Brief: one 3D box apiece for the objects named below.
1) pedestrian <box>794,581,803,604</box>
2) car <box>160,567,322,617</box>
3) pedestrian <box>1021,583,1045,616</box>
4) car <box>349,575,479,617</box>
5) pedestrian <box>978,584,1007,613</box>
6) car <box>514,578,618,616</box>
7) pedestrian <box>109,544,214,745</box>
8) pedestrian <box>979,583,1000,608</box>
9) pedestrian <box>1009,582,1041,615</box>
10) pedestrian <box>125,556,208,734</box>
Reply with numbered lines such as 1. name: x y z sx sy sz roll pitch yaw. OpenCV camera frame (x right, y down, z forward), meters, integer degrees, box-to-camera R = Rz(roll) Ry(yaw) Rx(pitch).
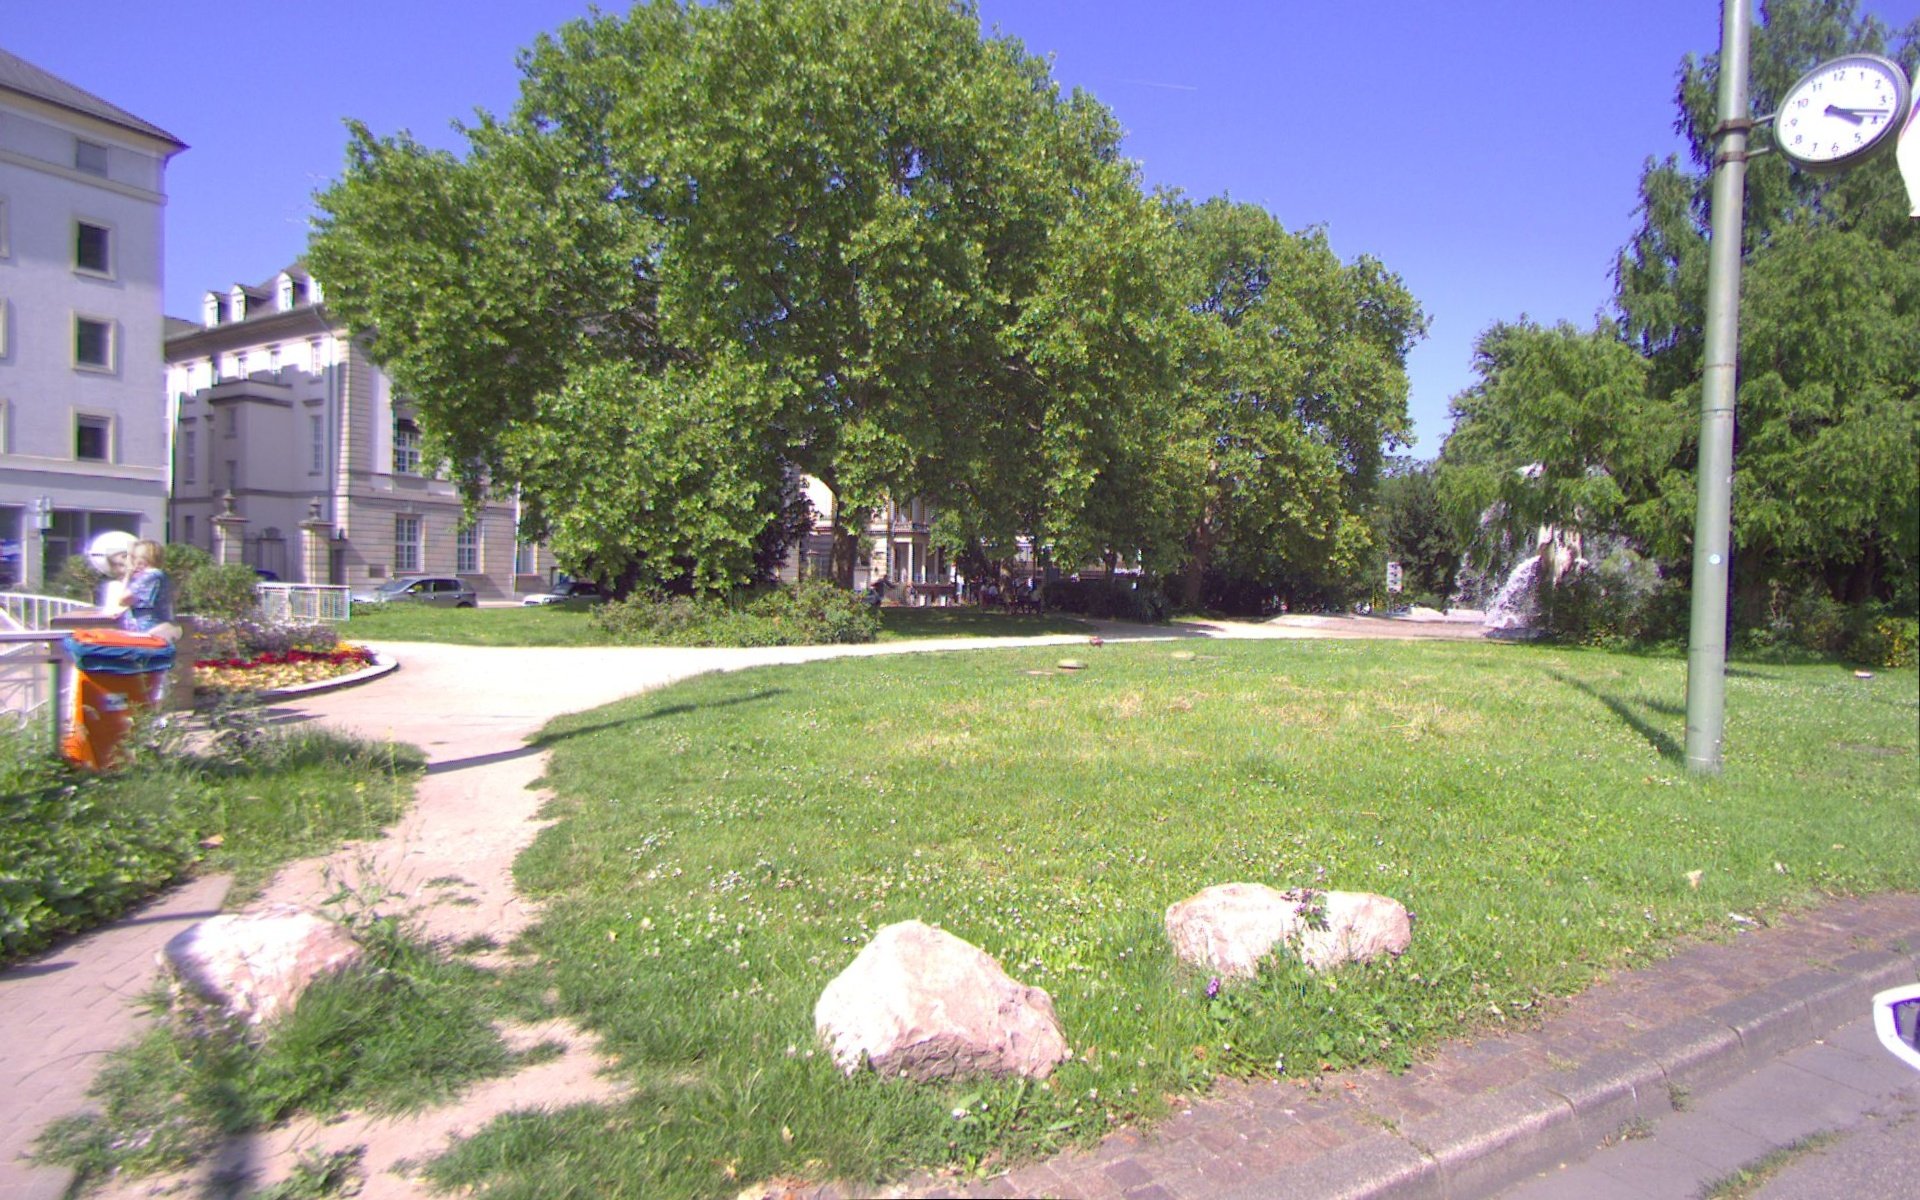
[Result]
1. pedestrian: -11.525 -0.528 71.666 0.486 1.646 0.375 1 0 -32
2. car: -21.274 -0.239 29.836 1.583 1.364 3.577 3 1 30
3. pedestrian: 2.802 -0.034 38.533 0.660 1.242 0.753 1 2 -19
4. car: -18.395 -0.139 33.993 1.583 1.286 3.577 3 1 30
5. pedestrian: 1.412 -0.074 43.985 1.042 1.242 0.753 1 1 -19
6. car: -15.468 -0.129 39.562 1.583 1.398 3.577 3 1 30
7. pedestrian: -6.757 0.348 8.494 0.683 1.614 0.596 3 2 43
8. pedestrian: 1.524 -0.235 51.971 1.038 1.242 0.756 2 1 -1
9. pedestrian: 2.534 -0.043 39.218 1.042 1.242 0.753 1 1 -19
10. pedestrian: -7.223 0.379 9.137 0.839 1.530 0.472 3 2 43
